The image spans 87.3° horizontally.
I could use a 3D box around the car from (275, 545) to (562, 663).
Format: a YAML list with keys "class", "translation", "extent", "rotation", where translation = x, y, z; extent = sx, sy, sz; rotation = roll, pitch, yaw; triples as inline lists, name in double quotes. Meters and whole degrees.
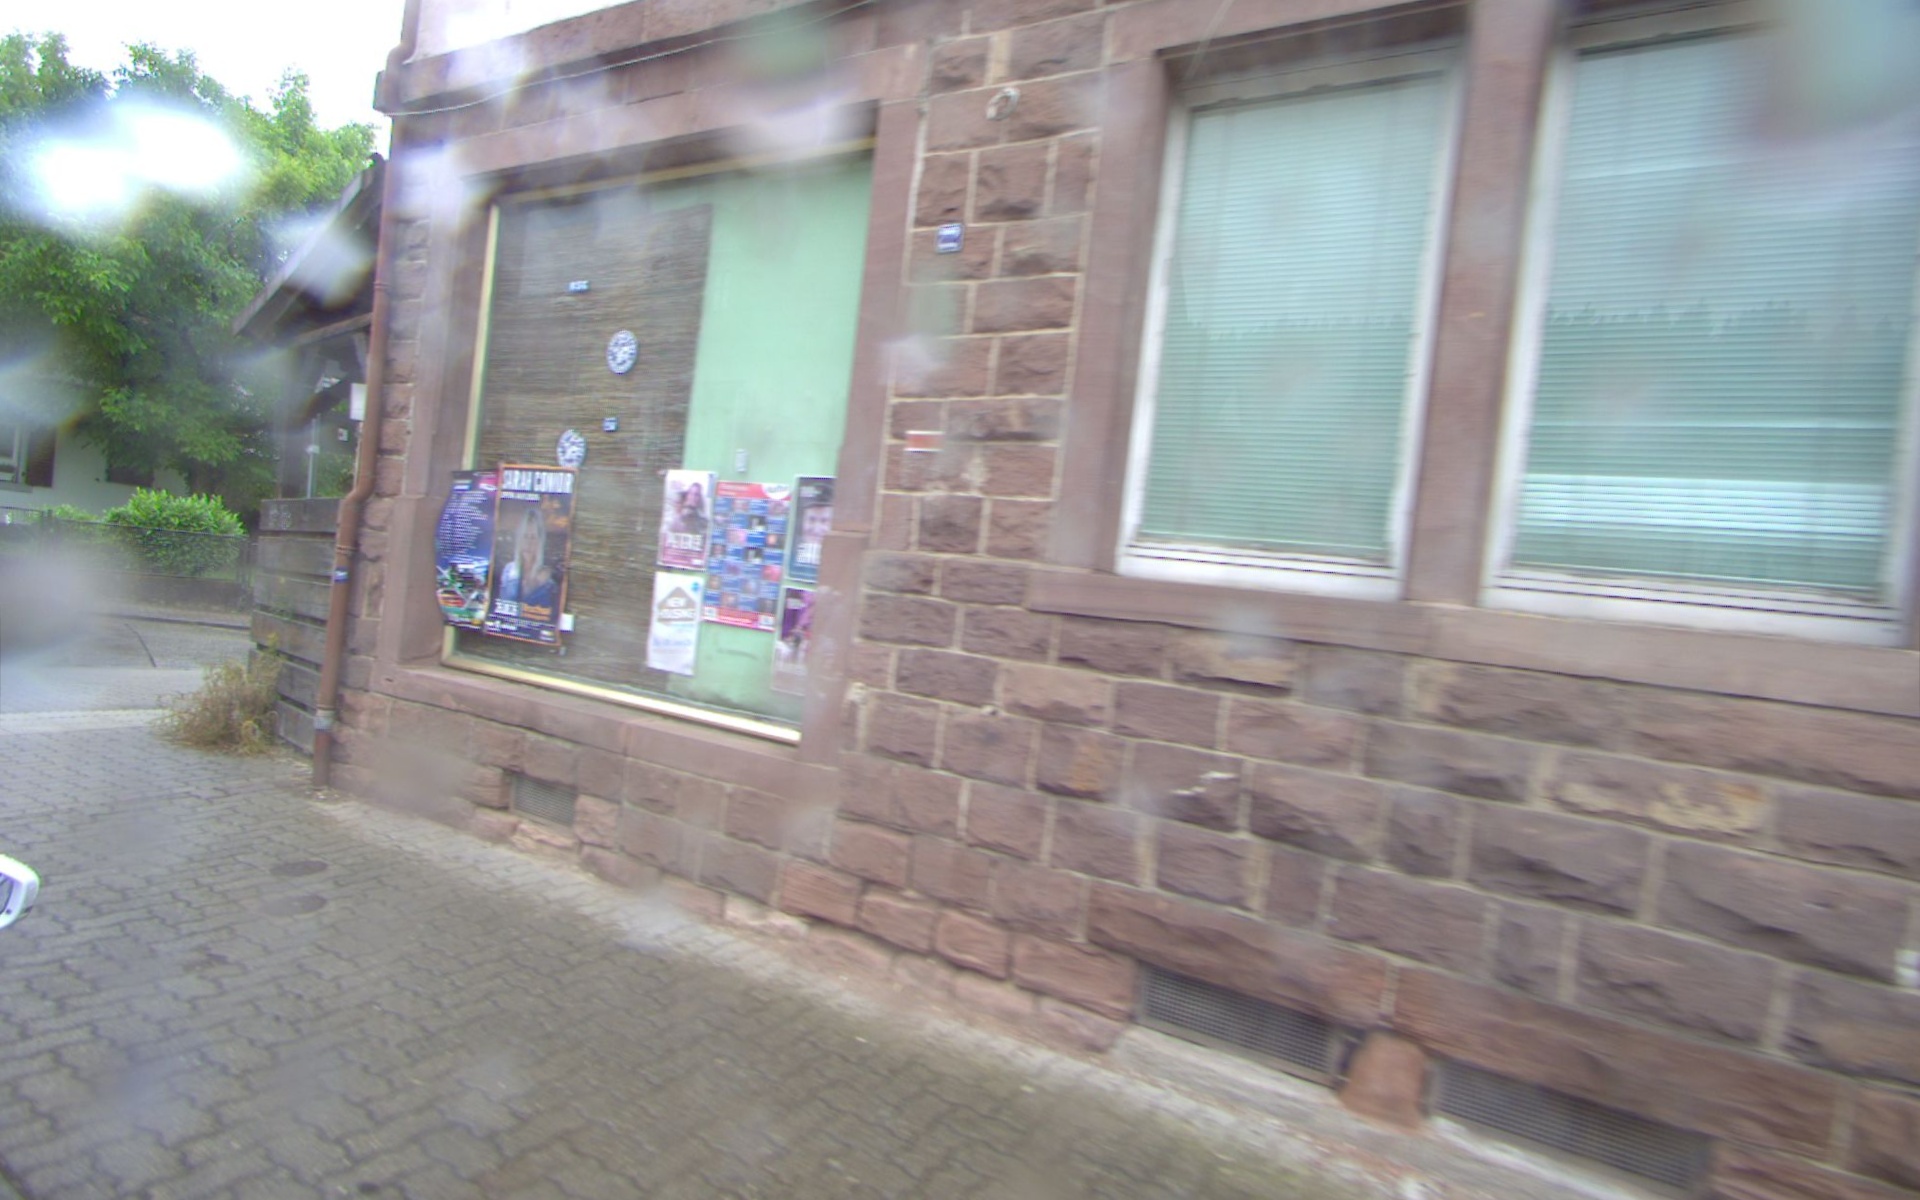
- class: "car"
  translation: [-9.355, 0.111, 17.587]
  extent: [3.979, 1.483, 1.762]
  rotation: [10, -4, -44]
